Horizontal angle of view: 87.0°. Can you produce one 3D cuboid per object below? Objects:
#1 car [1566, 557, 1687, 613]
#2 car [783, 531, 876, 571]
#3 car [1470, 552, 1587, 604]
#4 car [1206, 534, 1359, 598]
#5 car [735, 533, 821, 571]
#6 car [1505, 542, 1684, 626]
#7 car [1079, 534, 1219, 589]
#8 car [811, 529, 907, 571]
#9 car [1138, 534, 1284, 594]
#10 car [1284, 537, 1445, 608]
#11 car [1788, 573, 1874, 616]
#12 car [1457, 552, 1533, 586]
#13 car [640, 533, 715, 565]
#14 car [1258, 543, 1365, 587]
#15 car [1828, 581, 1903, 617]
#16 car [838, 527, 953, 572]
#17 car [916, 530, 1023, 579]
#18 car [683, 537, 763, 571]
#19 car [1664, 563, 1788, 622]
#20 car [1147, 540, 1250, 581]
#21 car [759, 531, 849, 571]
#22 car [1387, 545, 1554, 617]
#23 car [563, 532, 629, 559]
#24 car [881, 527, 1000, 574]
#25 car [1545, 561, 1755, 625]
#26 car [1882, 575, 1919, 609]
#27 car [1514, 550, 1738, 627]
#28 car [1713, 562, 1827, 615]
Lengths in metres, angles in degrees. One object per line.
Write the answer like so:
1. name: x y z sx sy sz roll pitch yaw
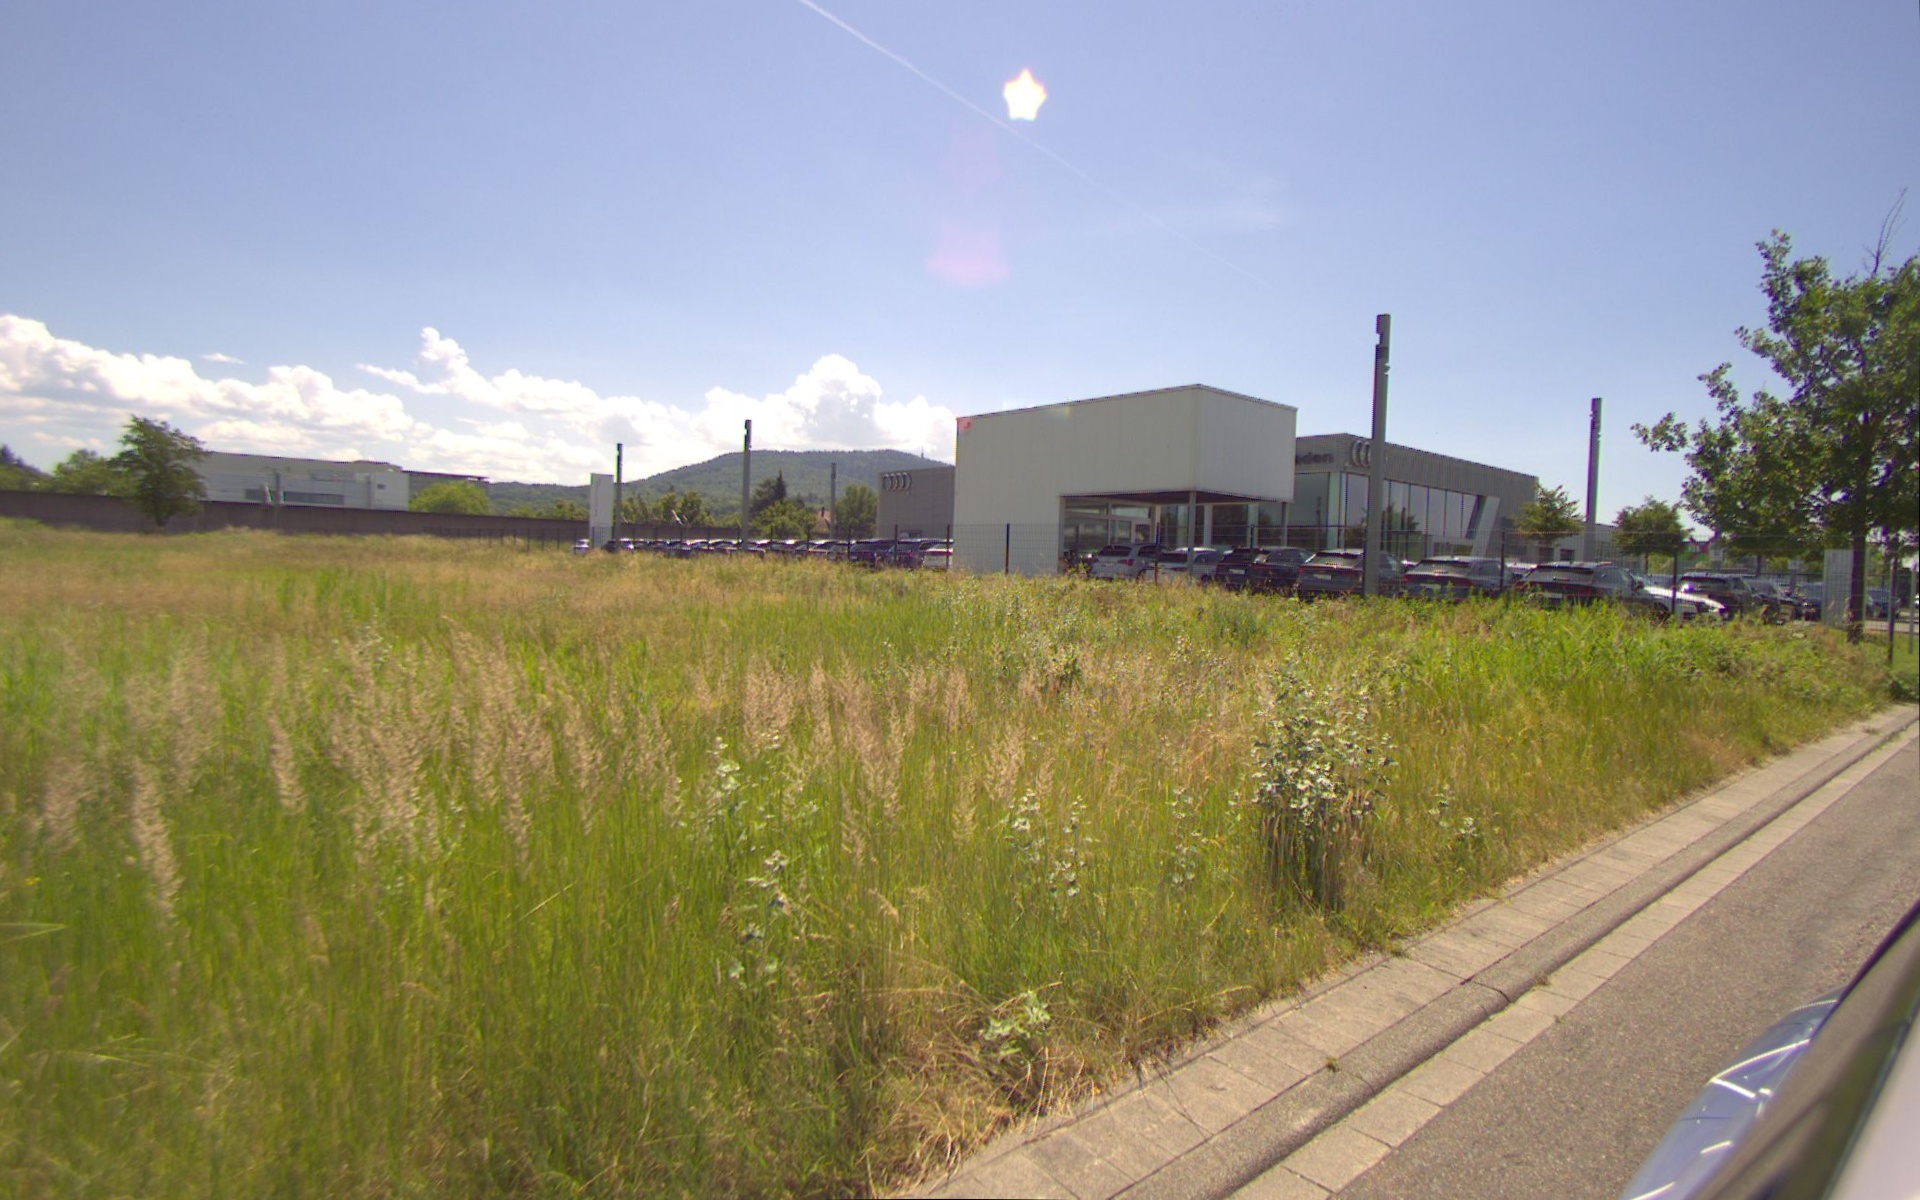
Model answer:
1. car: 21.869 -0.494 33.151 4.695 1.609 2.030 0 4 -41
2. car: -6.233 -2.328 48.448 3.931 1.806 1.998 0 3 -41
3. car: 19.818 -0.748 35.204 4.695 1.609 2.030 0 4 -41
4. car: 9.625 -0.973 30.014 4.723 1.699 2.030 0 4 -40
5. car: -9.393 -2.459 52.351 3.931 1.806 1.998 0 3 -41
6. car: 15.050 -0.384 23.888 5.017 1.713 2.030 0 4 -40
7. car: 6.431 -1.276 34.125 4.723 1.674 2.030 0 4 -40
8. car: -4.615 -2.275 46.412 3.931 1.806 1.998 0 3 -41
9. car: 7.990 -1.120 32.060 4.723 1.674 2.030 0 4 -40
10. car: 11.217 -0.740 27.911 4.723 1.746 2.030 0 4 -40
11. car: 35.942 -0.271 41.730 4.900 1.474 1.966 -2 6 -41
12. car: 28.746 -1.697 54.317 4.900 1.640 1.966 -2 6 -41
13. car: -17.092 -3.080 61.324 3.931 1.806 1.998 0 3 -41
14. car: 14.390 -1.402 41.341 4.696 1.609 2.029 0 4 -42
15. car: 42.005 -0.014 46.904 4.638 1.382 1.966 1 5 -41
16. car: -2.789 -2.209 44.607 4.723 1.746 2.030 0 4 -40
17. car: 0.407 -1.803 40.321 3.931 1.806 1.998 0 3 -41
18. car: -13.342 -2.571 57.122 3.931 1.806 1.998 0 3 -41
19. car: 23.522 -0.251 31.026 4.695 1.592 2.030 0 4 -41
20. car: 10.590 -1.743 44.766 4.695 1.609 2.030 0 4 -41
21. car: -7.733 -2.420 50.275 3.931 1.806 1.998 0 3 -41
22. car: 13.067 -0.483 25.798 4.723 1.630 2.030 0 4 -40
23. car: -25.797 -3.849 71.729 3.931 1.806 1.998 0 3 -41
24. car: -0.761 -2.083 42.573 4.723 1.746 2.030 0 4 -40
25. car: 19.542 -0.261 28.821 1.996 1.475 4.540 0 4 -40
26. car: 50.529 -0.407 53.677 4.155 1.589 1.892 0 6 -42
27. car: 17.671 -0.354 27.054 1.994 1.713 4.543 0 4 -38
28. car: 27.701 -0.405 34.546 5.147 1.532 2.030 0 6 -41
